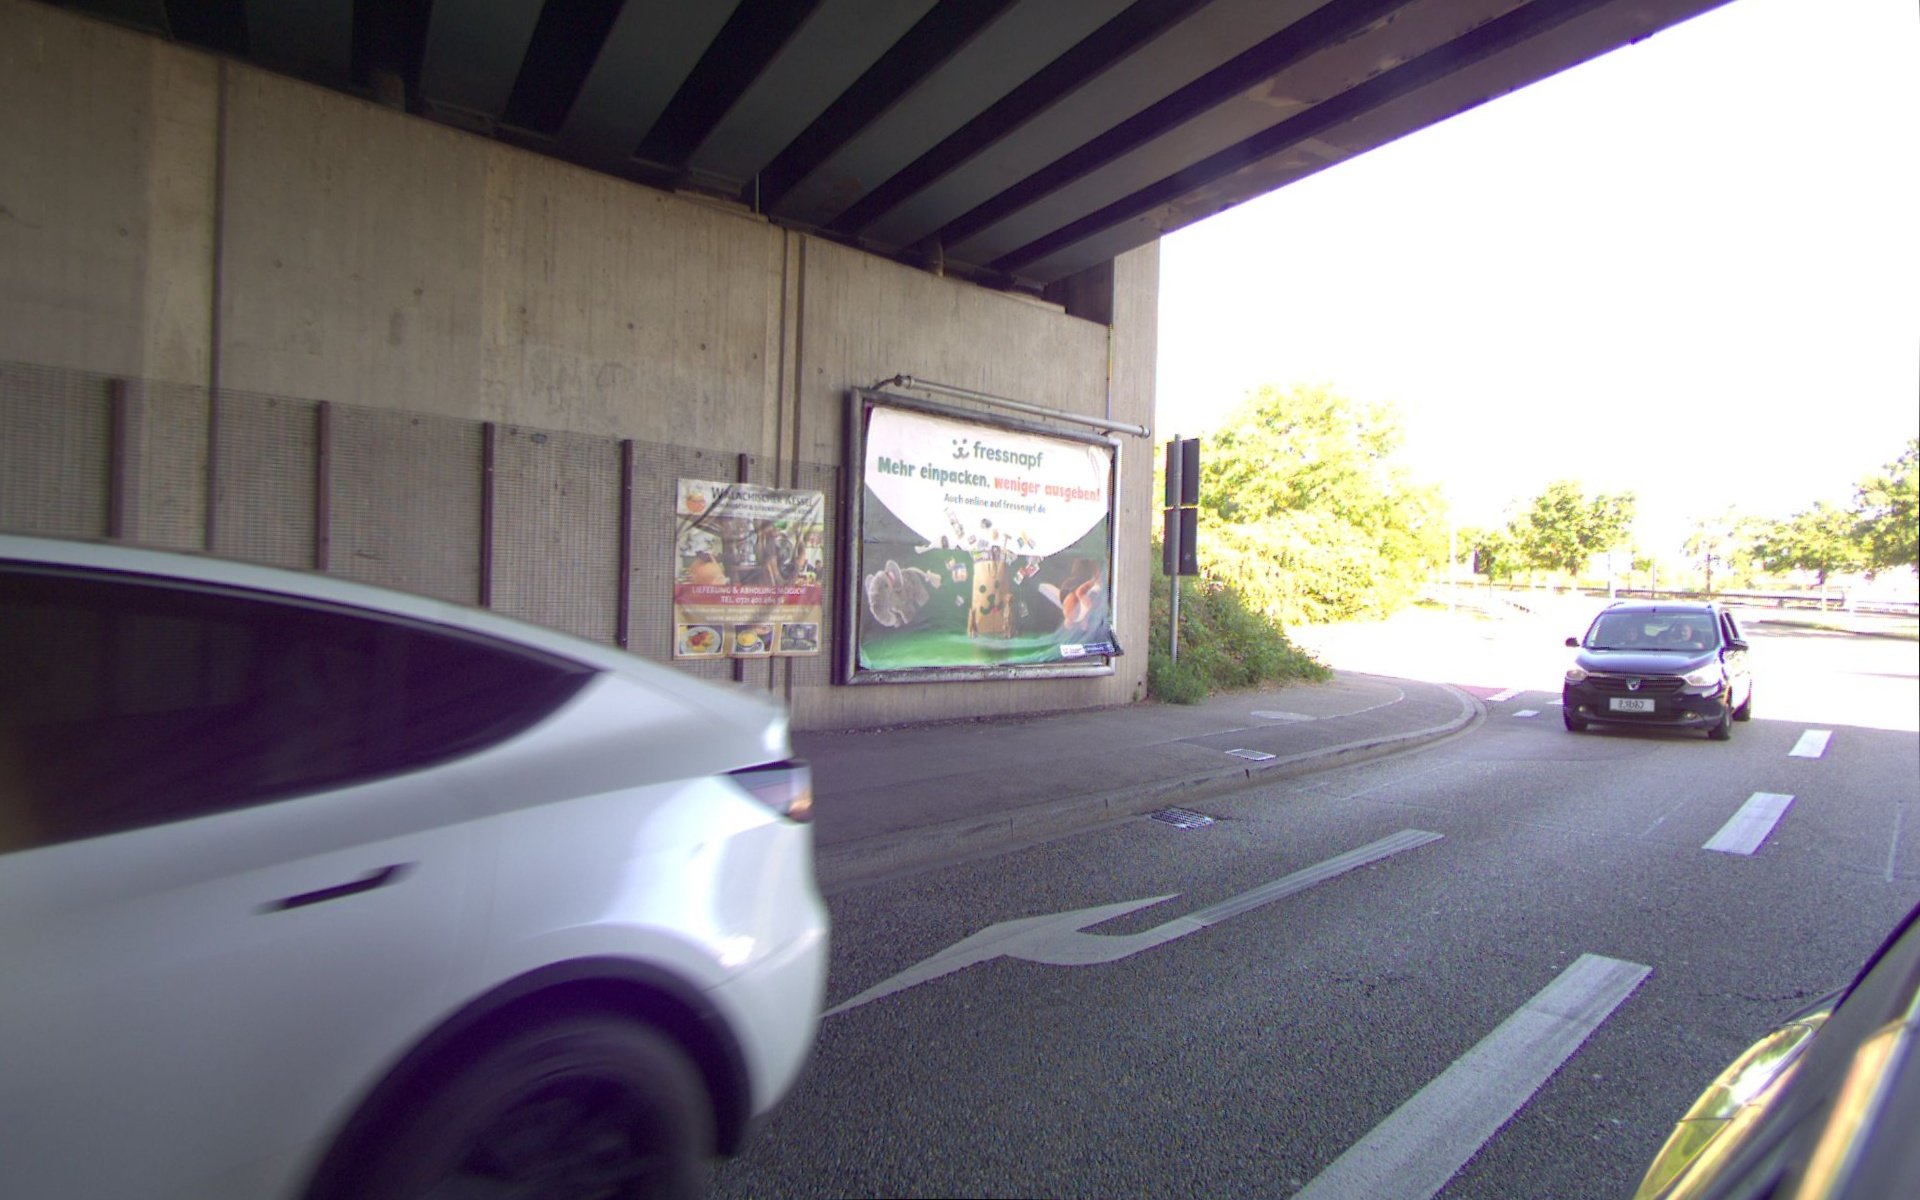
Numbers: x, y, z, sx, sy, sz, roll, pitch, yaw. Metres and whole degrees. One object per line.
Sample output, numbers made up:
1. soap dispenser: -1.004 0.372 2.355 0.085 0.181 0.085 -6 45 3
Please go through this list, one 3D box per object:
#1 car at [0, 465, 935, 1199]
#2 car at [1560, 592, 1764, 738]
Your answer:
1. car: -2.298 0.611 1.721 1.994 1.570 4.350 0 1 45
2. car: 9.398 0.716 13.416 1.773 1.621 4.043 0 0 41
